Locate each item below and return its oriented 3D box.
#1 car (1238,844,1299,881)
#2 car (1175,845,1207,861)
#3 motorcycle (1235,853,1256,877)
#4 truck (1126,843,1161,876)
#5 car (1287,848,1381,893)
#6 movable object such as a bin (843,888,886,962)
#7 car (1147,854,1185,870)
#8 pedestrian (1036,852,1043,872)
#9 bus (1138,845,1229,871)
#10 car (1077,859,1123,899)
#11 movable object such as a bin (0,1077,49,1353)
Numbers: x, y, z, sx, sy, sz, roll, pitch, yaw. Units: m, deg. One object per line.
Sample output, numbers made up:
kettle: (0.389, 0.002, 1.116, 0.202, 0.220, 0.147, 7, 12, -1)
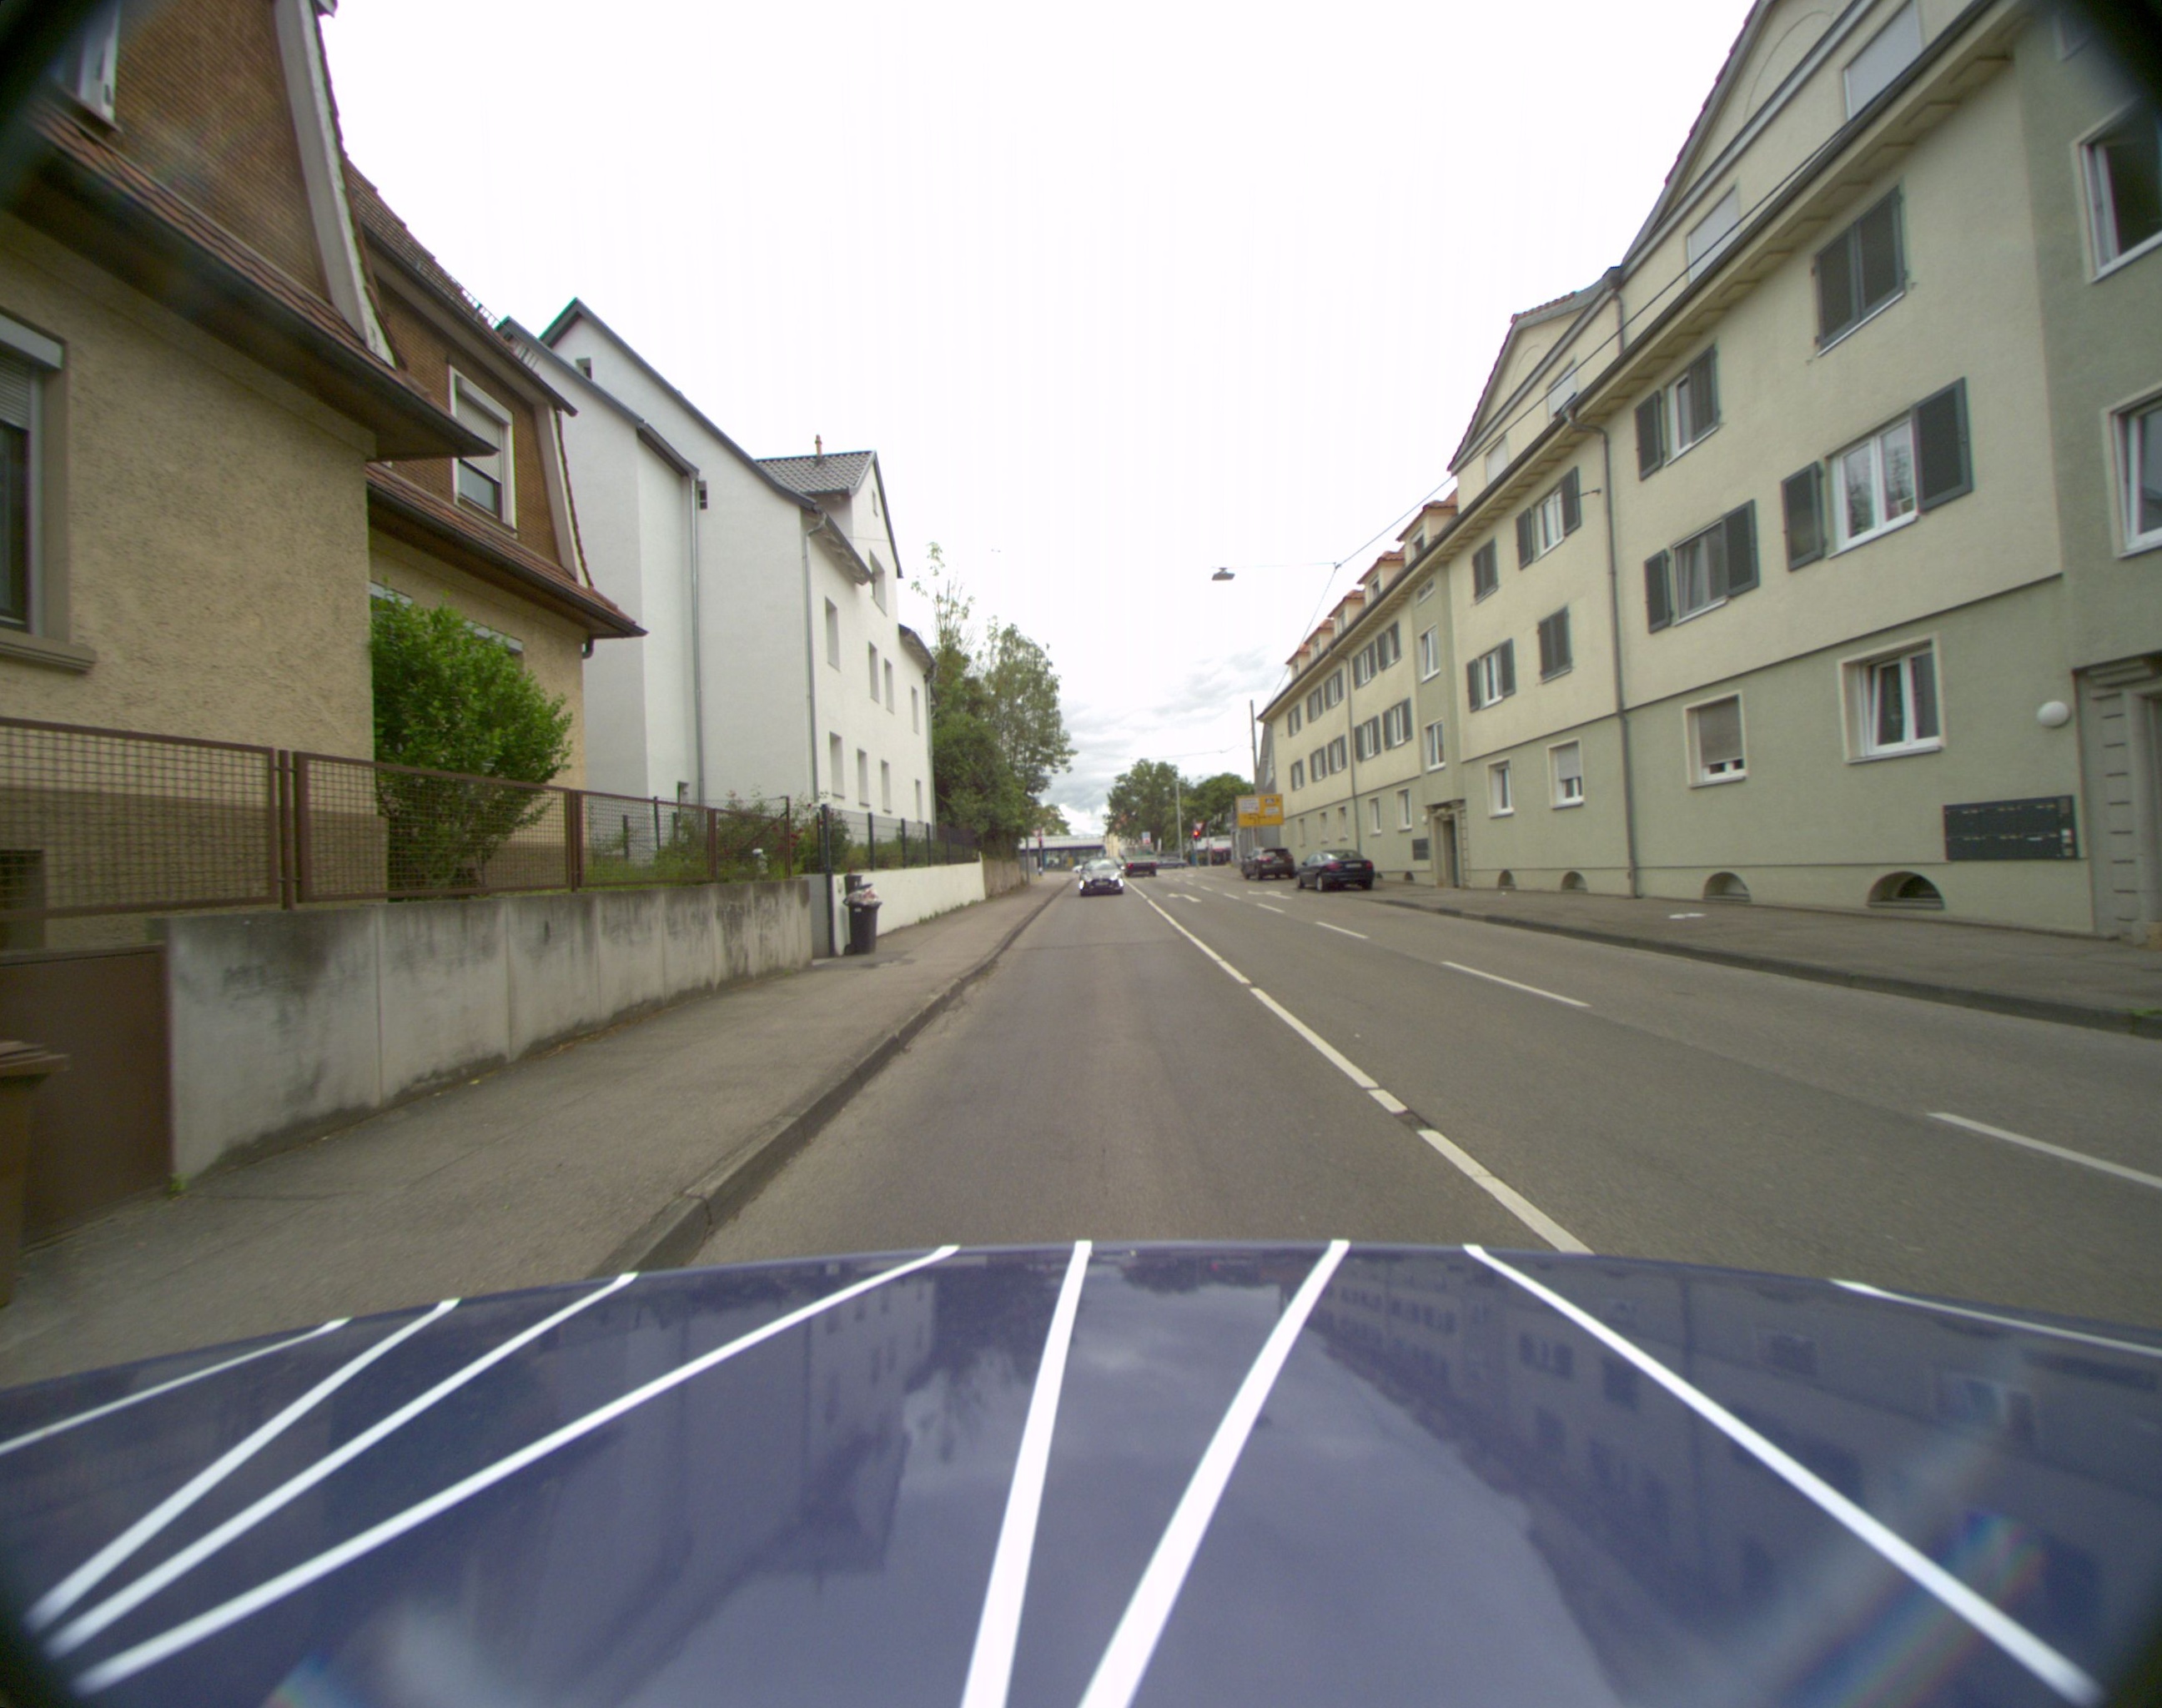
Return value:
car: (9.239, 0.413, 37.822, 1.826, 1.623, 4.696, -3, 0, 0)
car: (15.341, -0.159, 106.038, 3.998, 2.177, 1.999, -1, 0, -4)
motorcycle: (9.289, 0.594, 42.912, 0.627, 1.283, 2.230, -4, 0, 0)
truck: (4.376, 0.379, 54.415, 2.126, 2.188, 6.590, -2, 0, 2)
car: (8.860, 0.522, 27.049, 1.714, 1.395, 4.846, -2, 0, 1)
movable object such as a bin: (-3.641, 1.179, 12.806, 0.529, 1.171, 0.634, 1, 1, 0)
car: (9.549, 0.885, 85.385, 3.997, 1.641, 2.000, -2, 0, 0)
pedestrian: (-3.448, 0.655, 63.149, 0.553, 1.581, 0.672, 0, 1, -1)
bus: (13.565, 0.602, 100.979, 11.845, 3.043, 2.001, -2, -2, 5)
car: (0.740, 0.919, 29.750, 1.646, 1.390, 3.782, -2, 0, 1)
movable object such as a bin: (-3.961, 1.261, 2.462, 0.462, 0.918, 0.566, 1, 1, 0)
